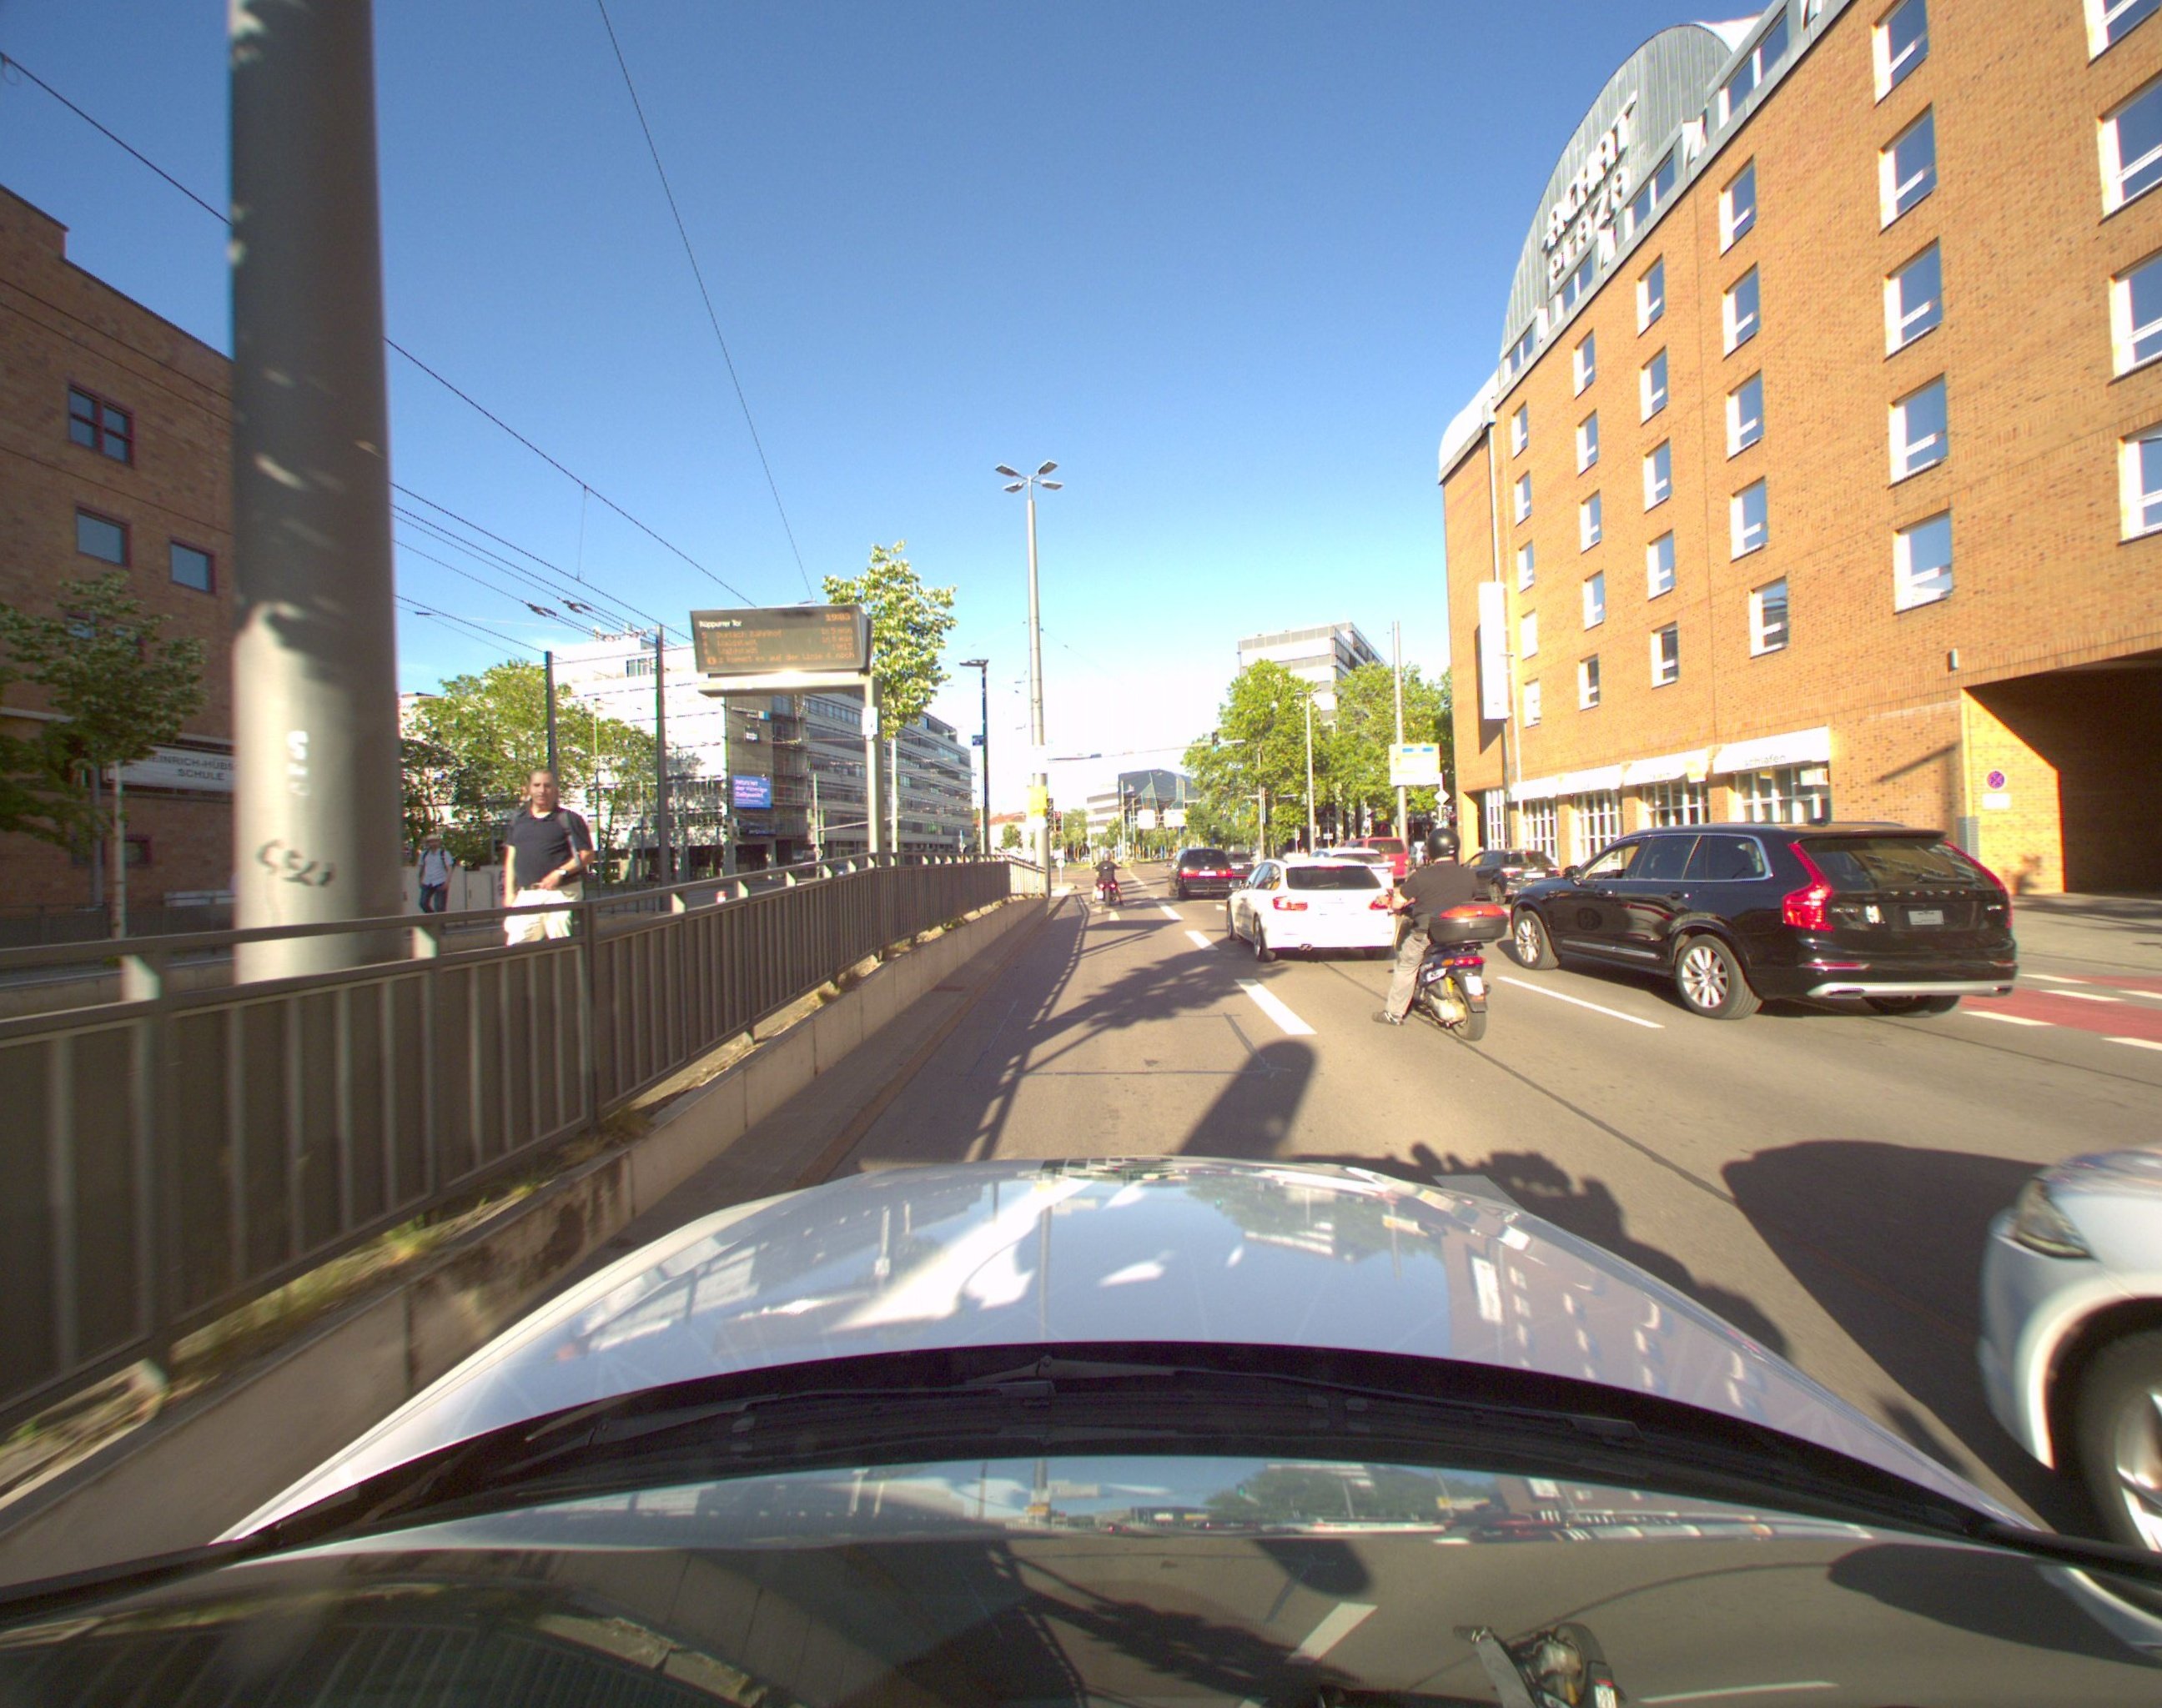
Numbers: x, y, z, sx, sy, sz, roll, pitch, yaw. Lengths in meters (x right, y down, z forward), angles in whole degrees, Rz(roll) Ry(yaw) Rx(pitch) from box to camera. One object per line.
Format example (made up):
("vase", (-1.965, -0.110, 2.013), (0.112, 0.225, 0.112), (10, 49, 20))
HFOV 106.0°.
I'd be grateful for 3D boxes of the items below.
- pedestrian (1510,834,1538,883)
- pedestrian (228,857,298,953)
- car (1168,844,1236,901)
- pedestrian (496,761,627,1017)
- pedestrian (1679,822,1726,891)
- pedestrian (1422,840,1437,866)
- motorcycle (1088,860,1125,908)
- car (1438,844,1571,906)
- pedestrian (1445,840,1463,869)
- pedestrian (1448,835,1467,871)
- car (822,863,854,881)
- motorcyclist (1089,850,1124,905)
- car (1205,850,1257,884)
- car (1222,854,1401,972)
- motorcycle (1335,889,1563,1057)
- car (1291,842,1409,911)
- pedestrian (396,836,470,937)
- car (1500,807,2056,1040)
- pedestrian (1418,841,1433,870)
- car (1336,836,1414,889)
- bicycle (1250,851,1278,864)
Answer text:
("pedestrian", (16.779, 0.179, 30.855), (0.604, 1.821, 0.748), (-2, -1, 1))
("pedestrian", (-14.169, 0.868, 14.116), (0.561, 1.609, 0.616), (-1, 0, 2))
("car", (3.940, 0.573, 27.155), (1.791, 1.705, 4.065), (-1, 0, 2))
("pedestrian", (-3.555, 0.231, 5.607), (0.517, 1.669, 0.550), (-1, 0, 2))
("pedestrian", (16.700, 0.073, 21.901), (0.604, 1.821, 0.748), (-2, -1, 1))
("pedestrian", (22.200, -0.055, 51.876), (0.694, 1.661, 0.520), (0, 0, 2))
("motorcycle", (0.760, 0.851, 24.073), (1.015, 1.312, 2.916), (0, 0, 2))
("car", (11.684, 0.539, 22.795), (1.661, 1.530, 4.001), (-2, 0, 1))
("pedestrian", (21.803, 0.024, 47.616), (0.823, 1.661, 0.520), (0, 0, 2))
("pedestrian", (19.891, -0.047, 43.009), (0.604, 1.821, 0.748), (-2, -1, 1))
("car", (-21.805, 1.607, 73.343), (1.991, 1.464, 3.992), (-2, 0, -6))
("motorcyclist", (0.758, 0.678, 24.193), (1.015, 1.603, 1.149), (0, 0, 2))
("car", (7.174, 0.598, 39.355), (1.844, 1.497, 4.381), (-1, 0, 2))
("car", (3.309, 0.756, 12.576), (1.686, 1.497, 4.411), (0, 0, 2))
("motorcycle", (3.041, 0.908, 7.121), (0.834, 1.062, 2.553), (-2, 0, 1))
("car", (7.126, 0.543, 22.074), (1.844, 1.639, 4.381), (-1, 0, 2))
("pedestrian", (-12.041, 0.583, 15.157), (0.611, 1.817, 0.897), (-1, 0, 2))
("car", (6.470, 0.530, 8.490), (1.967, 1.759, 4.635), (0, 0, 2))
("pedestrian", (19.813, 0.087, 46.864), (0.681, 1.661, 0.520), (0, 0, 2))
("car", (11.816, 0.320, 32.966), (1.852, 1.961, 4.003), (-2, 0, 3))
("bicycle", (18.712, 0.356, 83.324), (2.666, 1.244, 0.531), (-2, 0, 24))
